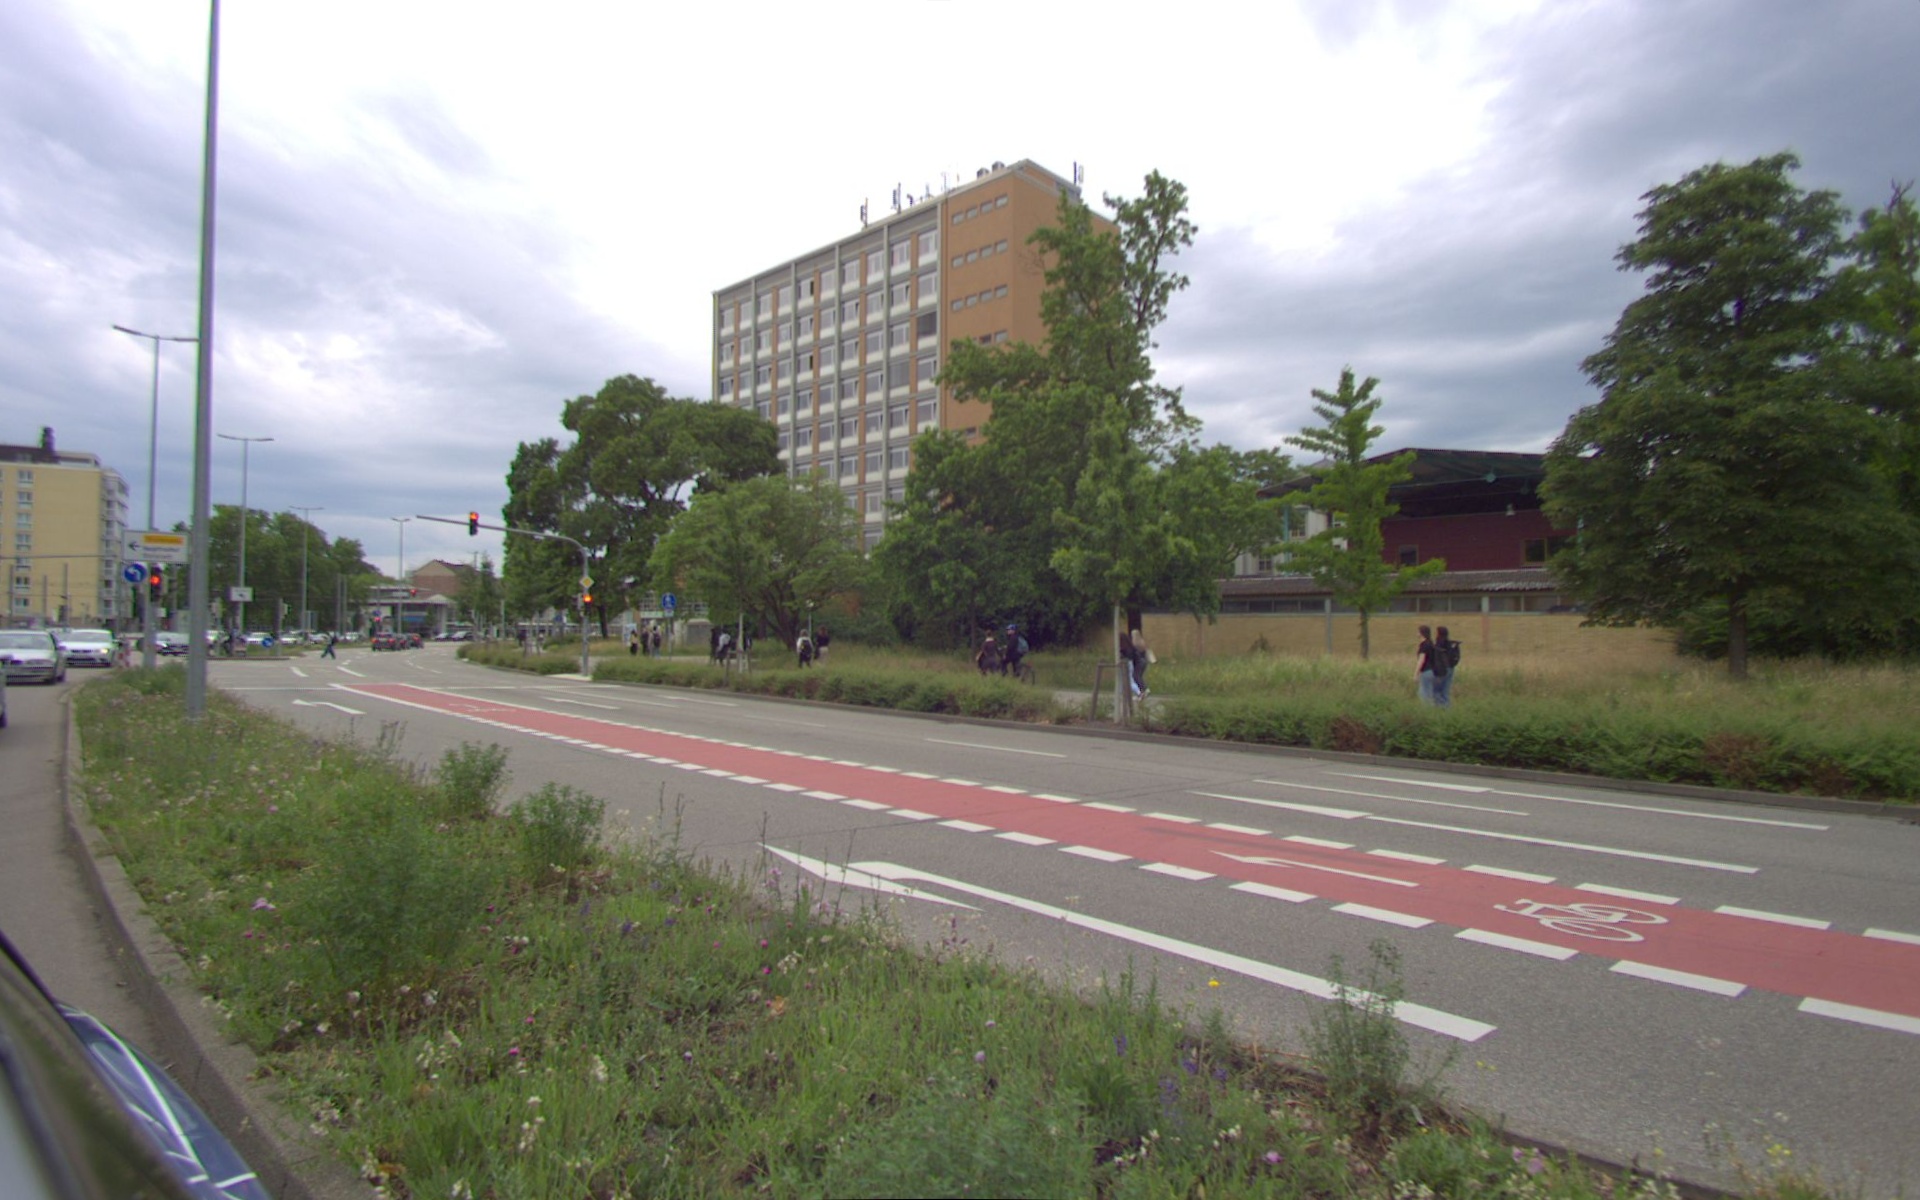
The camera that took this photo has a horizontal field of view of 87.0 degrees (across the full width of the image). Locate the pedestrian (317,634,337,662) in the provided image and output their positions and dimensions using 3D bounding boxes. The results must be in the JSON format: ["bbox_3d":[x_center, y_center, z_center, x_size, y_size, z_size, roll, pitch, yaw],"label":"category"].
[{"bbox_3d":[-37.617,2.861,60.136,0.706,1.680,0.767,-2,-4,40],"label":"pedestrian"}]

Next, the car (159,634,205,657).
[{"bbox_3d":[-49.510,2.909,64.383,3.365,1.420,1.660,-2,-4,41],"label":"car"}]

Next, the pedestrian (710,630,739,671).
[{"bbox_3d":[-8.681,1.852,37.279,0.719,1.491,0.814,4,-4,-39],"label":"pedestrian"}]

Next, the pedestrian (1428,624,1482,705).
[{"bbox_3d":[8.674,1.131,17.737,0.637,1.373,0.681,4,-5,-44],"label":"pedestrian"}]

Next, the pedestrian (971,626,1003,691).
[{"bbox_3d":[0.694,1.505,26.011,0.567,1.621,0.618,3,-4,-26],"label":"pedestrian"}]

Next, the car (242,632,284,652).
[{"bbox_3d":[-67.548,4.081,98.124,1.966,1.896,4.010,2,-3,-14],"label":"car"}]

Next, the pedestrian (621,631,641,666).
[{"bbox_3d":[-16.329,2.407,50.214,0.697,1.684,0.945,1,-3,-39],"label":"pedestrian"}]

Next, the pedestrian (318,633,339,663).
[{"bbox_3d":[-38.906,2.977,62.356,0.736,1.818,0.761,-1,-4,26],"label":"pedestrian"}]

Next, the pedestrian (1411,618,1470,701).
[{"bbox_3d":[8.171,1.011,17.223,0.637,1.368,0.712,4,-5,-43],"label":"pedestrian"}]

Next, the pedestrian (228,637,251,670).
[{"bbox_3d":[-40.914,3.034,57.447,0.903,1.818,0.542,3,-4,-26],"label":"pedestrian"}]

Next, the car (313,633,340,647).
[{"bbox_3d":[-75.053,4.732,119.963,1.775,1.608,3.770,2,-3,-18],"label":"car"}]

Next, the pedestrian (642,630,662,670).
[{"bbox_3d":[-14.230,2.302,46.772,0.629,1.815,0.763,2,-3,-39],"label":"pedestrian"}]

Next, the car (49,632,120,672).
[{"bbox_3d":[-34.464,2.004,39.922,1.758,1.474,3.880,0,-2,-36],"label":"car"}]

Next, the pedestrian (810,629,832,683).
[{"bbox_3d":[-4.605,1.851,33.437,0.571,1.725,0.764,2,-3,-15],"label":"pedestrian"}]

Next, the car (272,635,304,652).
[{"bbox_3d":[-72.030,4.659,108.538,1.808,1.777,3.922,2,-3,-17],"label":"car"}]

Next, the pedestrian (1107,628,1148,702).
[{"bbox_3d":[3.831,1.479,23.134,0.720,1.673,0.579,-2,-5,42],"label":"pedestrian"}]

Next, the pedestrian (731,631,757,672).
[{"bbox_3d":[-8.077,1.918,37.820,0.627,1.491,0.763,4,-4,-38],"label":"pedestrian"}]

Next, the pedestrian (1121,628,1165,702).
[{"bbox_3d":[4.267,1.518,23.624,0.767,1.685,0.699,-2,-5,42],"label":"pedestrian"}]

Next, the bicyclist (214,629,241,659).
[{"bbox_3d":[-43.230,2.581,59.741,1.173,1.749,0.808,4,-4,-40],"label":"bicyclist"}]

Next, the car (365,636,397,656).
[{"bbox_3d":[-51.356,4.090,89.878,1.785,1.680,3.962,2,-2,-20],"label":"car"}]

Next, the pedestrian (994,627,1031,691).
[{"bbox_3d":[1.374,1.554,26.566,0.651,1.644,0.766,3,-4,-27],"label":"pedestrian"}]

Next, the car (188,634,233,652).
[{"bbox_3d":[-65.248,3.779,88.185,1.790,1.486,4.044,2,-3,-16],"label":"car"}]

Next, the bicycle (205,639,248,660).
[{"bbox_3d":[-43.267,2.927,59.711,1.975,1.151,0.808,4,-4,-40],"label":"bicycle"}]

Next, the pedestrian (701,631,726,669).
[{"bbox_3d":[-10.693,2.170,43.902,0.826,1.625,0.629,-2,-2,26],"label":"pedestrian"}]

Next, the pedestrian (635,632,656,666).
[{"bbox_3d":[-15.764,2.434,50.707,0.697,1.683,0.891,0,-2,-39],"label":"pedestrian"}]

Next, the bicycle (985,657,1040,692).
[{"bbox_3d":[1.366,1.943,26.548,0.651,0.894,1.720,3,-4,-27],"label":"bicycle"}]

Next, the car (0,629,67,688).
[{"bbox_3d":[-24.695,1.511,26.465,1.700,1.425,4.254,0,-2,-38],"label":"car"}]

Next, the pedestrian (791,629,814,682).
[{"bbox_3d":[-5.119,1.802,32.909,0.613,1.708,0.748,2,-3,-15],"label":"pedestrian"}]
